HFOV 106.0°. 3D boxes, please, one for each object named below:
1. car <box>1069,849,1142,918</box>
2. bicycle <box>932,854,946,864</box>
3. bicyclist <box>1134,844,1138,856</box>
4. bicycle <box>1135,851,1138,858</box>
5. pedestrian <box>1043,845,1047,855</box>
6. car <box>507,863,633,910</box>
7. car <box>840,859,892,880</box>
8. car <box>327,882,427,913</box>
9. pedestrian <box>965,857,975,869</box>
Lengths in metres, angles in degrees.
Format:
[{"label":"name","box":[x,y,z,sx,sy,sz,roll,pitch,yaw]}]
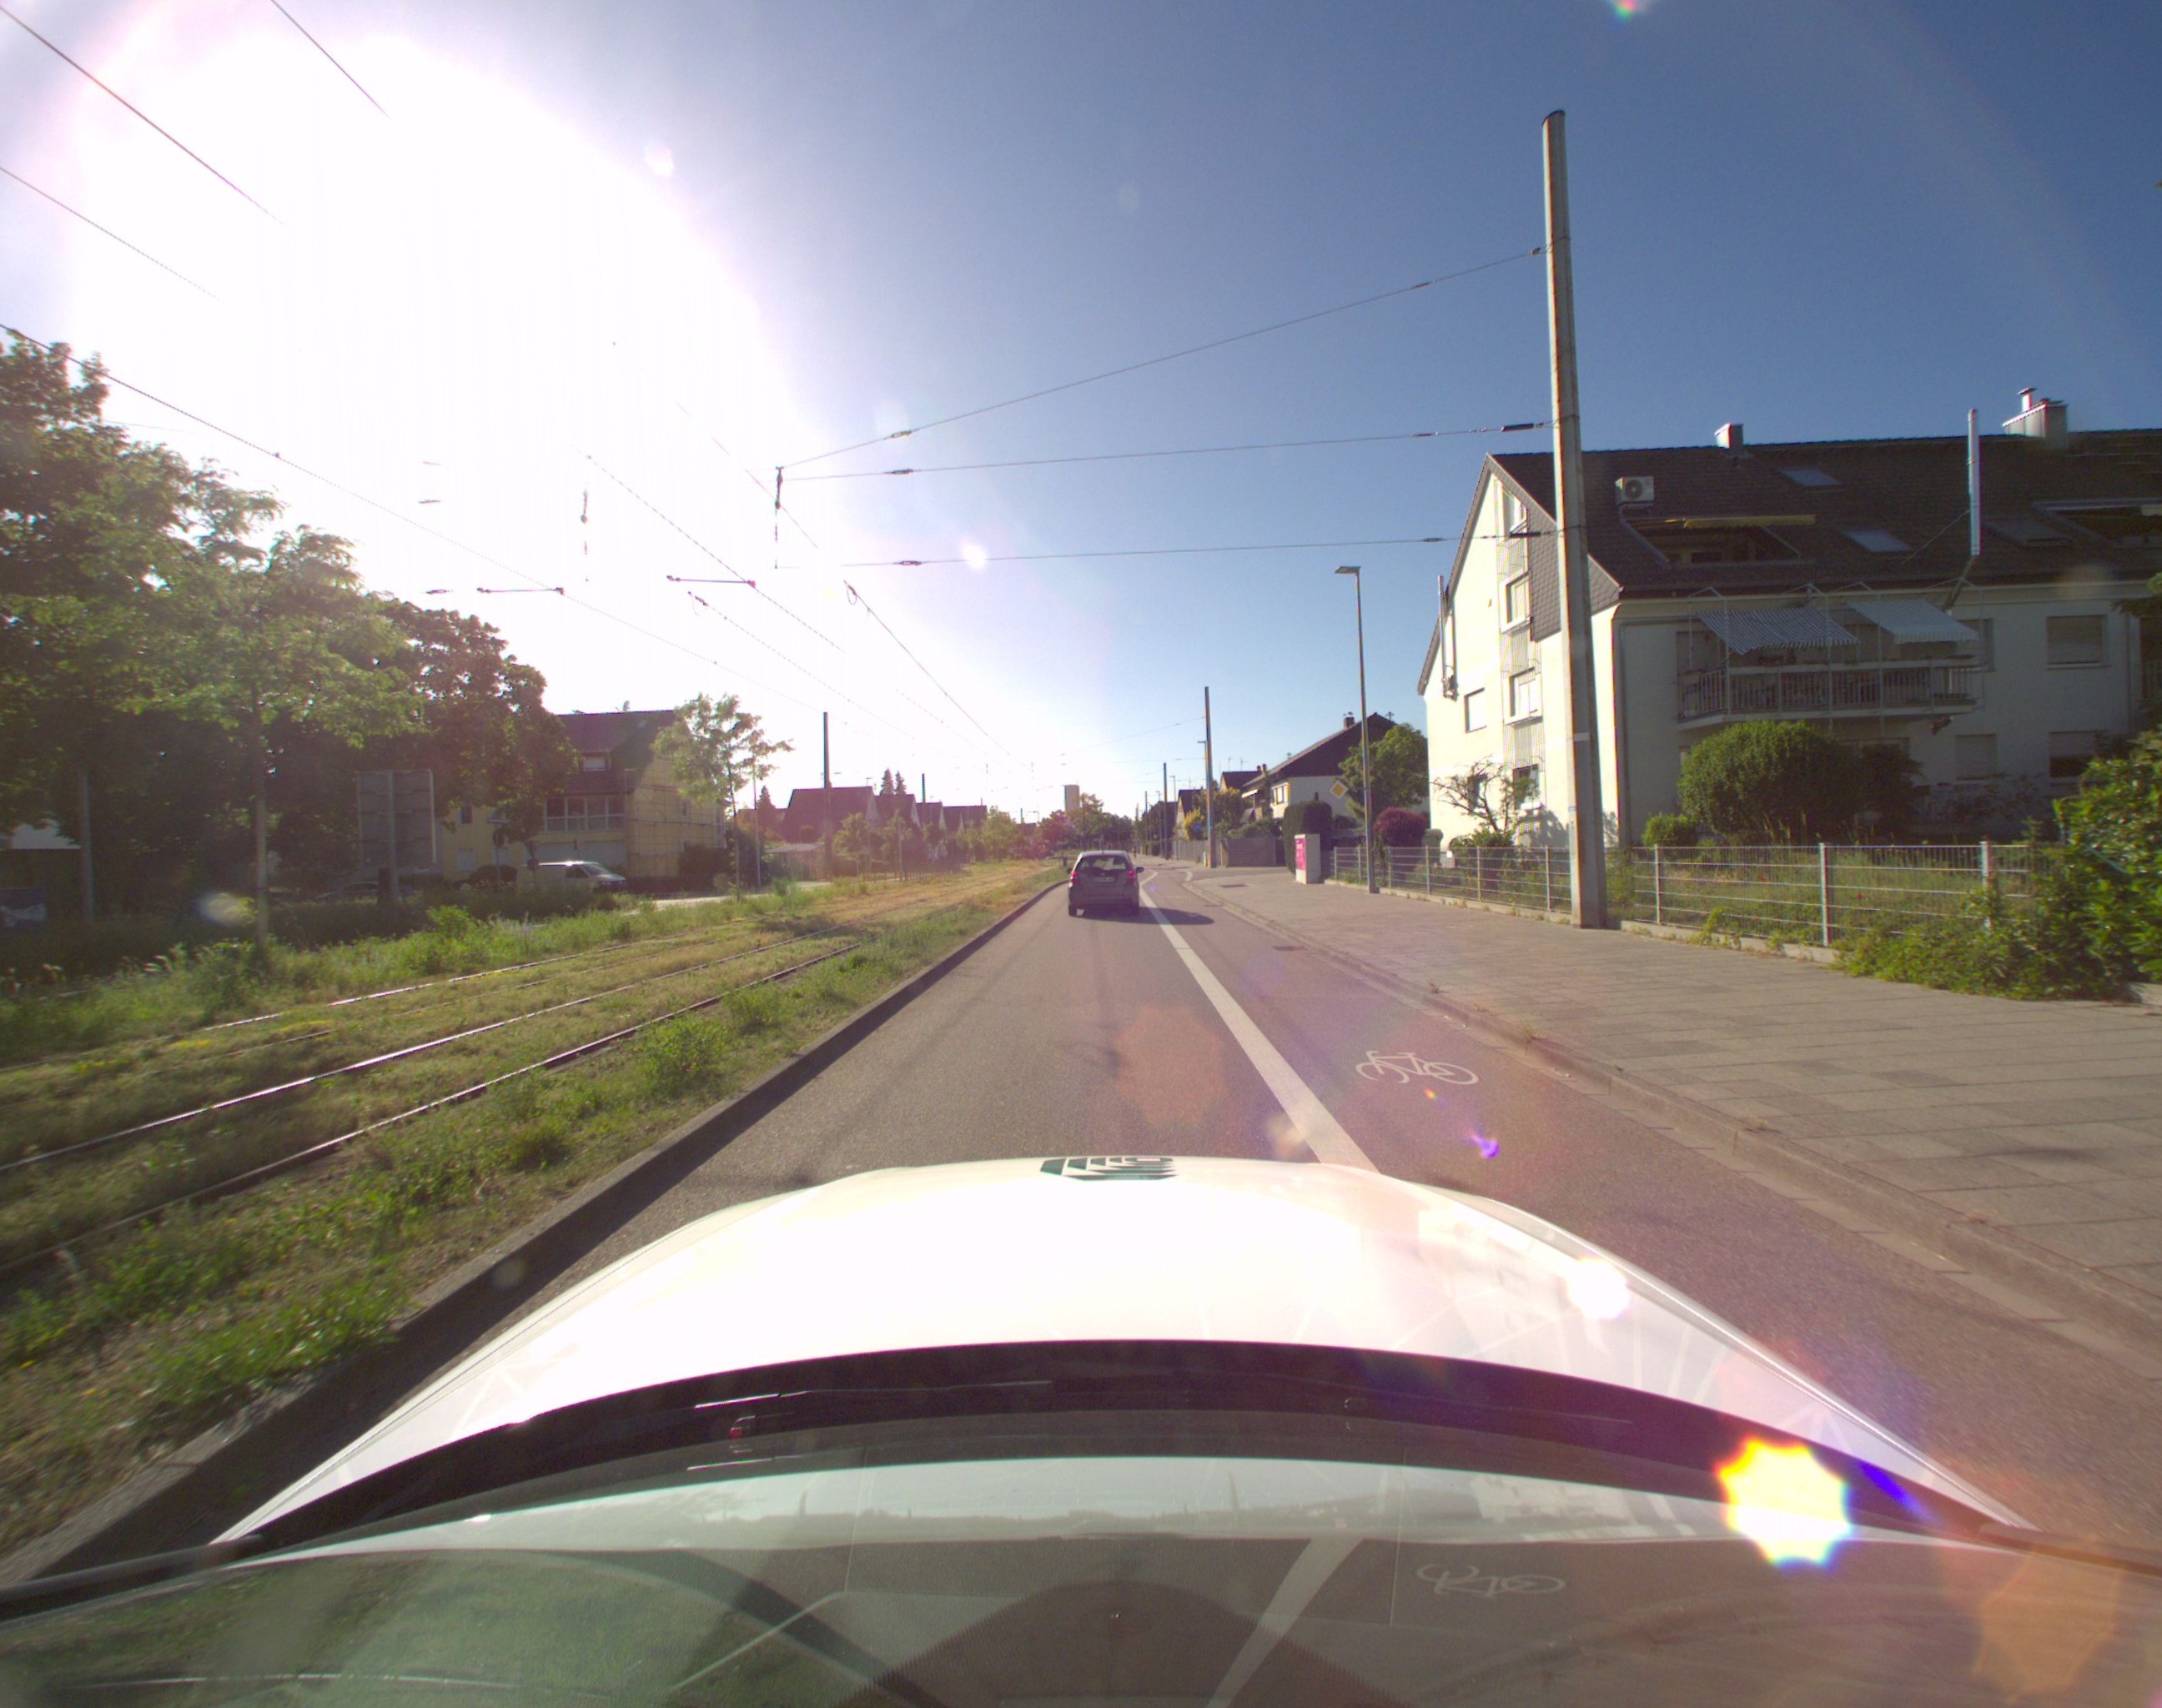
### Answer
[{"label":"car","box":[0.567,0.657,20.166,1.665,1.535,3.487,0,0,0]},{"label":"bicycle","box":[-21.490,0.802,123.215,1.985,1.365,0.704,-3,0,-5]},{"label":"bicyclist","box":[7.974,-0.526,118.395,0.596,1.701,0.684,-1,-1,2]},{"label":"bicycle","box":[8.085,0.079,118.659,0.473,0.961,1.658,-1,0,2]},{"label":"pedestrian","box":[-5.945,-0.694,135.494,0.673,1.535,0.748,-3,0,-3]},{"label":"car","box":[-24.127,1.495,38.582,4.669,1.914,1.904,-3,0,1]},{"label":"car","box":[-20.406,1.439,77.357,4.540,1.734,2.046,-3,0,-10]},{"label":"car","box":[-36.207,2.237,41.949,3.717,1.346,1.560,-3,0,0]},{"label":"pedestrian","box":[-14.614,1.176,107.294,0.961,1.640,1.086,-3,0,1]}]
